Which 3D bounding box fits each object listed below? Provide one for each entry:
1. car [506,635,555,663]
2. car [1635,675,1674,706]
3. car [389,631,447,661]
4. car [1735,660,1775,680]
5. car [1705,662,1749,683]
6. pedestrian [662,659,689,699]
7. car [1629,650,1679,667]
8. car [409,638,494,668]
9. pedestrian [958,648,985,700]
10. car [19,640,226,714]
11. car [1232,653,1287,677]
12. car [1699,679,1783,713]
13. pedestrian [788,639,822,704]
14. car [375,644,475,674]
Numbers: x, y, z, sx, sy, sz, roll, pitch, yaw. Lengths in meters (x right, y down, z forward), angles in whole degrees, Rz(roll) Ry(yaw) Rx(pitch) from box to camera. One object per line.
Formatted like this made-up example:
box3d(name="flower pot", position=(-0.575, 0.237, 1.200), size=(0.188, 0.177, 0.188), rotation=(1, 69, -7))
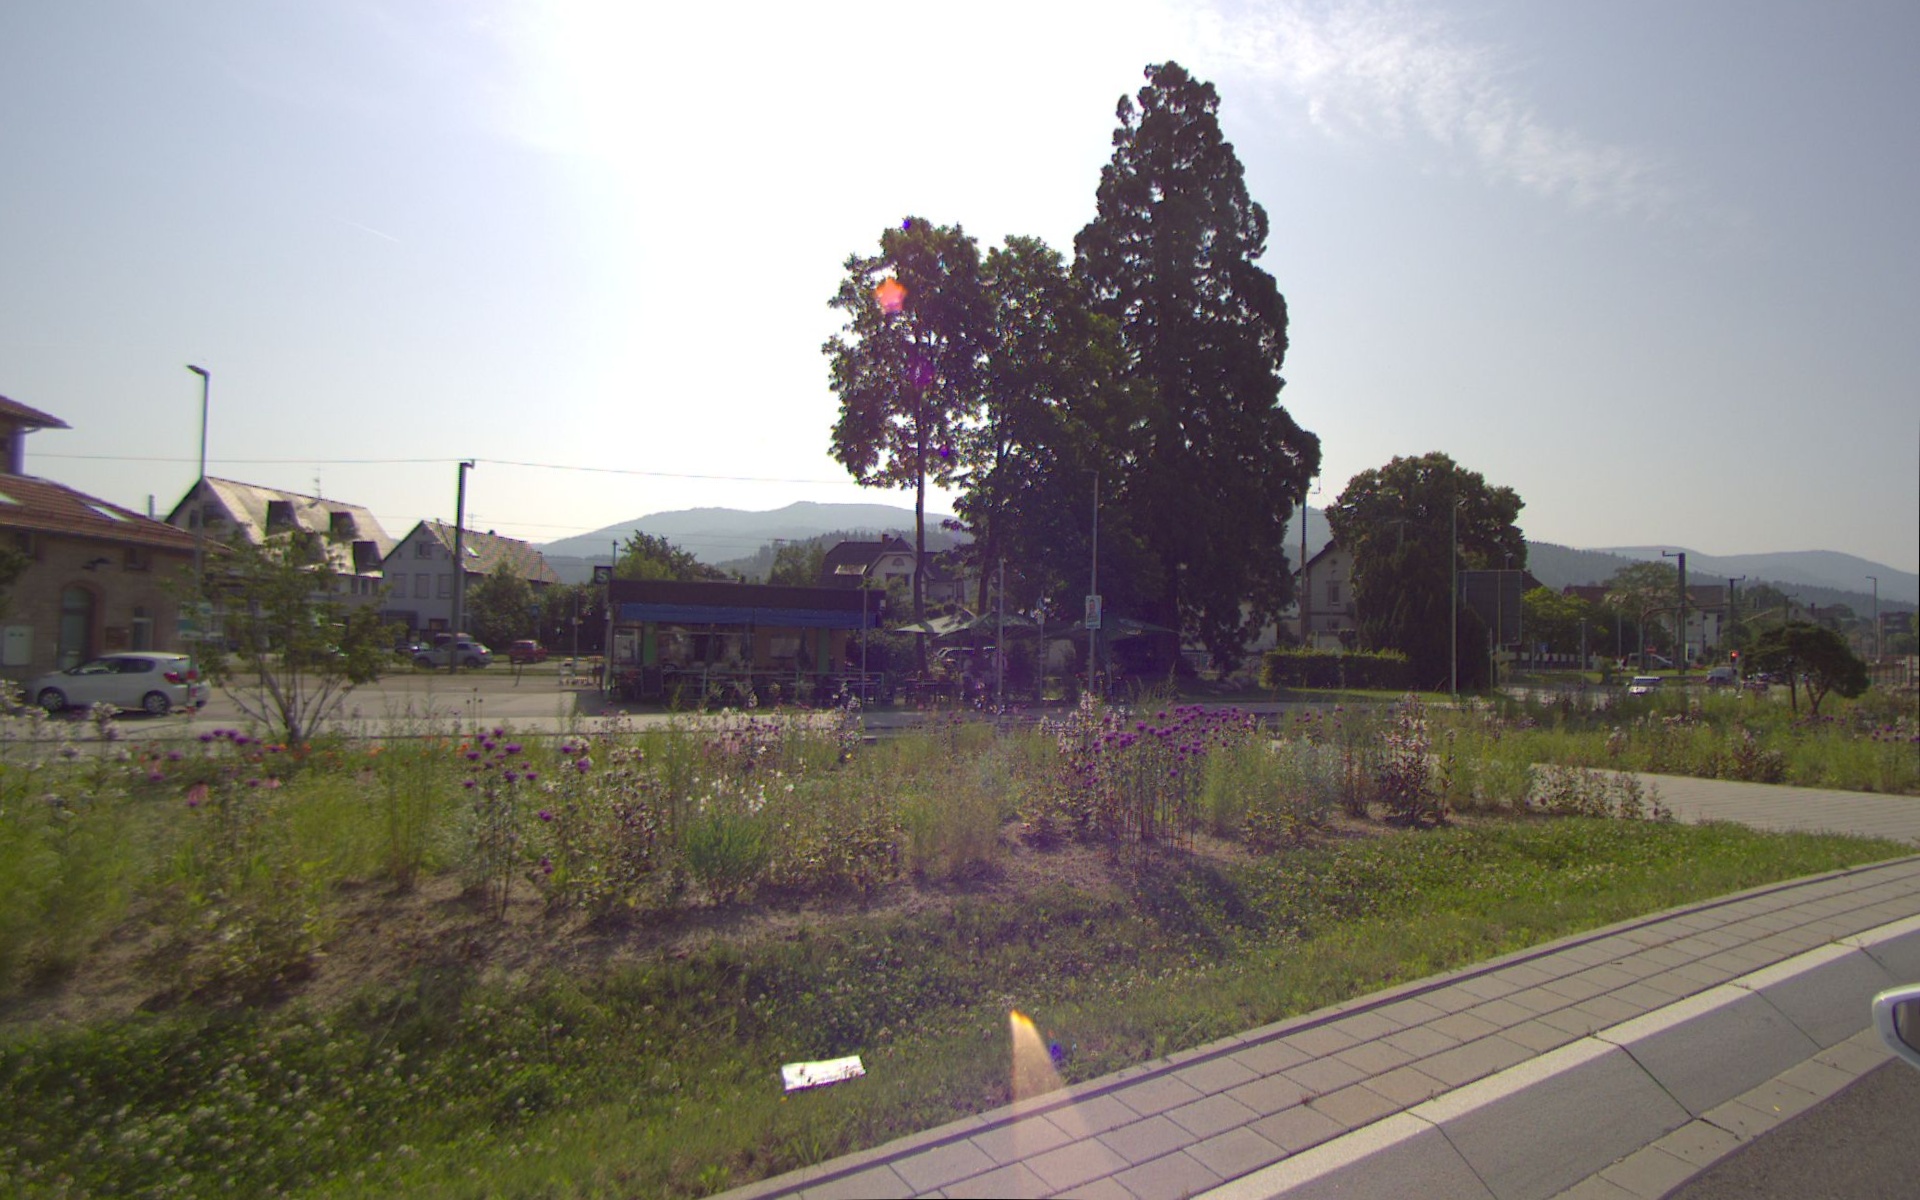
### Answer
box3d(name="car", position=(-28.560, 3.214, 66.906), size=(1.681, 1.623, 3.998), rotation=(2, 0, -3))
box3d(name="car", position=(37.333, 4.858, 54.061), size=(1.647, 1.551, 3.989), rotation=(-1, -4, 34))
box3d(name="car", position=(-35.707, 2.980, 66.299), size=(1.803, 1.750, 3.998), rotation=(2, 0, -3))
box3d(name="car", position=(66.137, 5.816, 83.549), size=(3.963, 1.416, 1.696), rotation=(2, 0, -37))
box3d(name="car", position=(59.993, 5.624, 78.520), size=(3.963, 1.416, 1.696), rotation=(2, 0, -37))
box3d(name="pedestrian", position=(-8.563, 2.371, 30.239), size=(0.672, 1.179, 0.555), rotation=(2, 0, -27))
box3d(name="car", position=(71.500, 6.004, 103.578), size=(1.701, 1.416, 3.951), rotation=(2, 0, -41))
box3d(name="car", position=(-28.917, 3.012, 57.246), size=(3.927, 1.639, 1.780), rotation=(1, 0, -9))
box3d(name="pedestrian", position=(0.382, 2.374, 32.477), size=(0.563, 1.611, 0.643), rotation=(1, 0, -38))
box3d(name="car", position=(-21.046, 1.924, 25.374), size=(3.585, 1.589, 1.677), rotation=(3, 0, -9))
box3d(name="car", position=(22.527, 4.867, 75.589), size=(3.579, 1.514, 1.607), rotation=(3, 0, 0))
box3d(name="car", position=(41.573, 5.076, 53.579), size=(1.680, 1.416, 4.002), rotation=(2, 0, 7))
box3d(name="pedestrian", position=(-5.022, 2.298, 32.518), size=(0.703, 2.040, 0.849), rotation=(1, 0, -38))
box3d(name="car", position=(-23.345, 2.572, 43.977), size=(3.685, 1.193, 1.421), rotation=(1, 0, -22))
